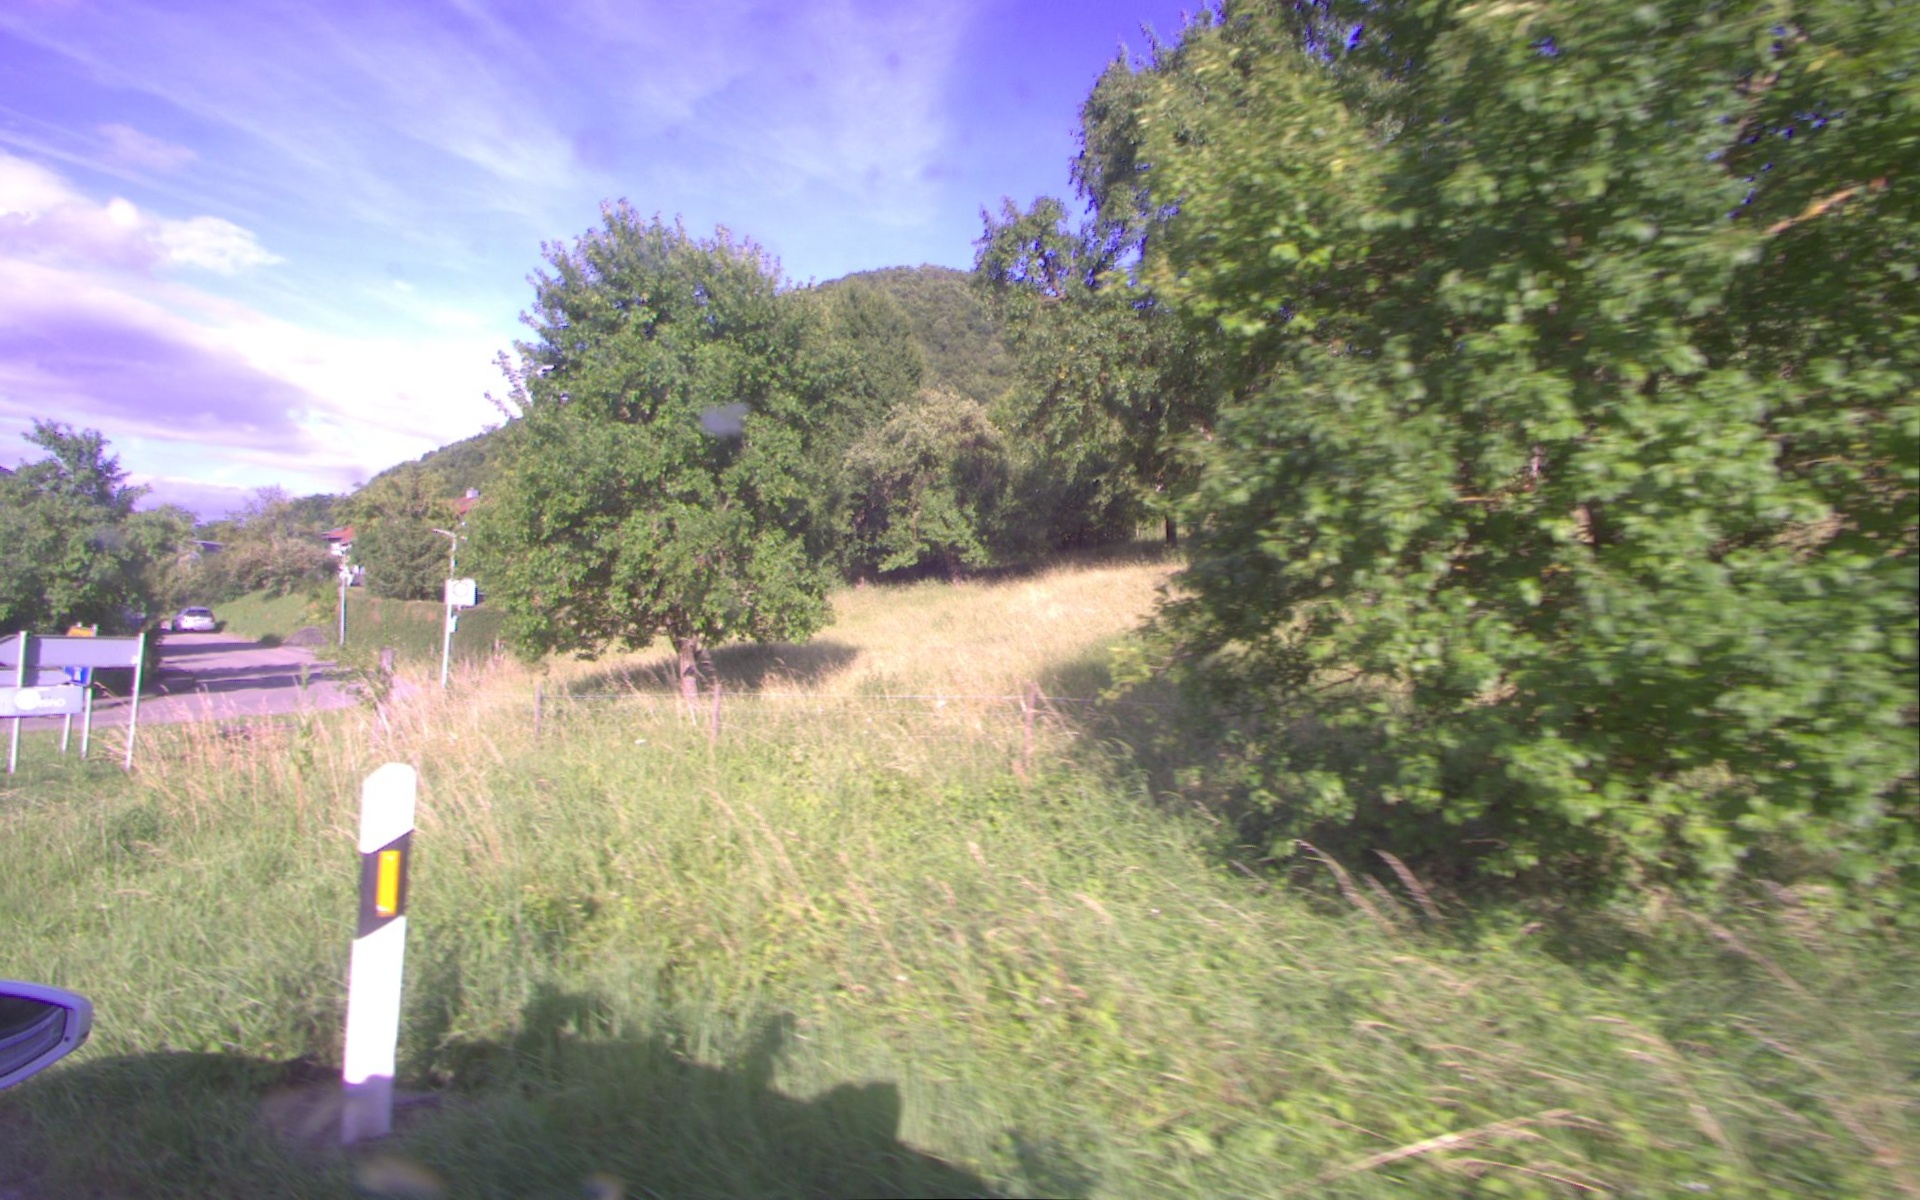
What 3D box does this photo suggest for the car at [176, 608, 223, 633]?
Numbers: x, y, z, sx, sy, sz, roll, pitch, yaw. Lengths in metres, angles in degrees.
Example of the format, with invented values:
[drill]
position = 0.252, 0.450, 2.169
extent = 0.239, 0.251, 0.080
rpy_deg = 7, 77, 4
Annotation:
[car]
position = -46.805, 1.289, 61.580
extent = 1.979, 1.482, 3.965
rpy_deg = 1, -2, -42
